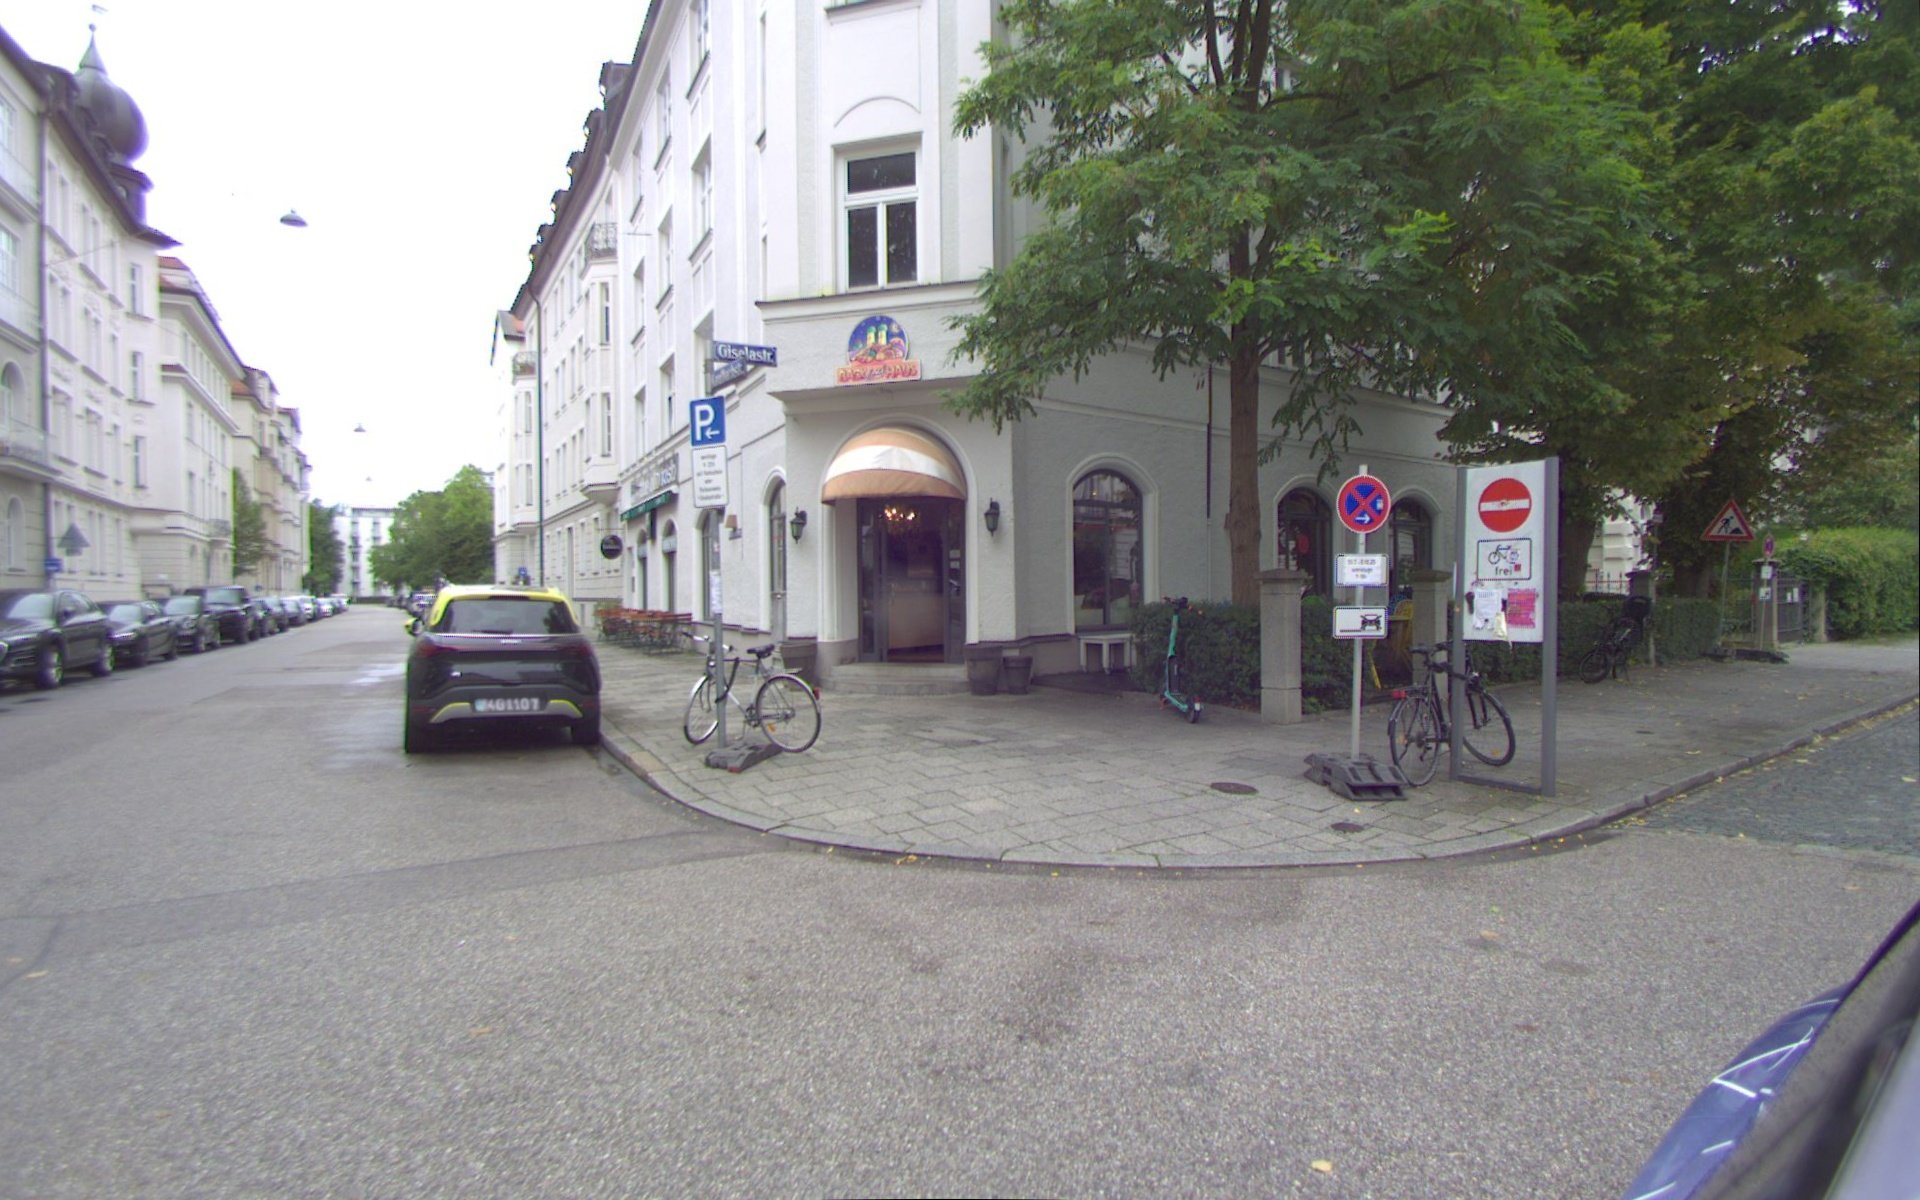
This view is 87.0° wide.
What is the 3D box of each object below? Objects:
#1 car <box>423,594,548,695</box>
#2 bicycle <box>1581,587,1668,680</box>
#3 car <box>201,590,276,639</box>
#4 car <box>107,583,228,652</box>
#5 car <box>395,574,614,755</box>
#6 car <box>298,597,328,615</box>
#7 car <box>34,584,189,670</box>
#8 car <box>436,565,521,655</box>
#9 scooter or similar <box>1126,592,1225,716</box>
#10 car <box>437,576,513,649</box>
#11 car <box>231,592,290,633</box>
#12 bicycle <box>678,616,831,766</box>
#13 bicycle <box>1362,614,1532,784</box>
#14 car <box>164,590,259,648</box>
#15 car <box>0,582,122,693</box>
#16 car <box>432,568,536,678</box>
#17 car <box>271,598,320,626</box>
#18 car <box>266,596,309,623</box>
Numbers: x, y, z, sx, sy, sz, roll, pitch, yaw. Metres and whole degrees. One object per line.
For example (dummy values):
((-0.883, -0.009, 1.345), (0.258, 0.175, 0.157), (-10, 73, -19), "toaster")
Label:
((-7.855, 0.638, 16.746), (1.666, 1.443, 3.546), (-1, 1, -26), "car")
((9.616, 0.457, 14.629), (1.699, 1.212, 0.429), (-2, 6, -37), "bicycle")
((-26.706, 0.501, 37.570), (1.818, 1.678, 3.936), (-1, 1, -29), "car")
((-21.592, 0.424, 27.758), (1.851, 1.684, 4.298), (-1, 1, -28), "car")
((-5.163, 0.567, 11.420), (1.866, 1.617, 4.094), (-1, 1, -26), "car")
((-50.318, 0.425, 78.730), (1.961, 1.294, 4.002), (-2, 1, -32), "car")
((-18.706, 0.510, 22.522), (1.852, 1.684, 4.297), (-1, 1, -29), "car")
((-11.599, 0.205, 24.367), (1.695, 1.959, 3.665), (-1, 1, -26), "car")
((2.376, 0.553, 11.338), (0.396, 1.186, 1.612), (-1, 4, -14), "scooter or similar")
((-13.554, 0.308, 28.202), (1.707, 1.835, 4.005), (-1, 1, -28), "car")
((-29.317, 0.480, 42.496), (1.629, 1.613, 3.751), (-1, 1, -28), "car")
((-1.880, 0.754, 9.093), (0.725, 1.081, 1.607), (-5, 5, -34), "bicycle")
((3.775, 0.716, 7.804), (1.558, 1.161, 0.390), (-1, 1, -31), "bicycle")
((-23.592, 0.548, 32.040), (1.795, 1.692, 4.063), (-1, 1, -28), "car")
((-15.982, 0.557, 17.180), (1.851, 1.684, 4.298), (-1, 1, -28), "car")
((-9.792, 0.402, 20.769), (1.738, 1.994, 3.938), (-1, 1, -26), "car")
((-34.322, 0.576, 52.312), (1.774, 1.364, 3.552), (-1, 1, -28), "car")
((-40.191, 0.553, 60.551), (1.961, 1.529, 4.002), (-1, 1, -32), "car")
